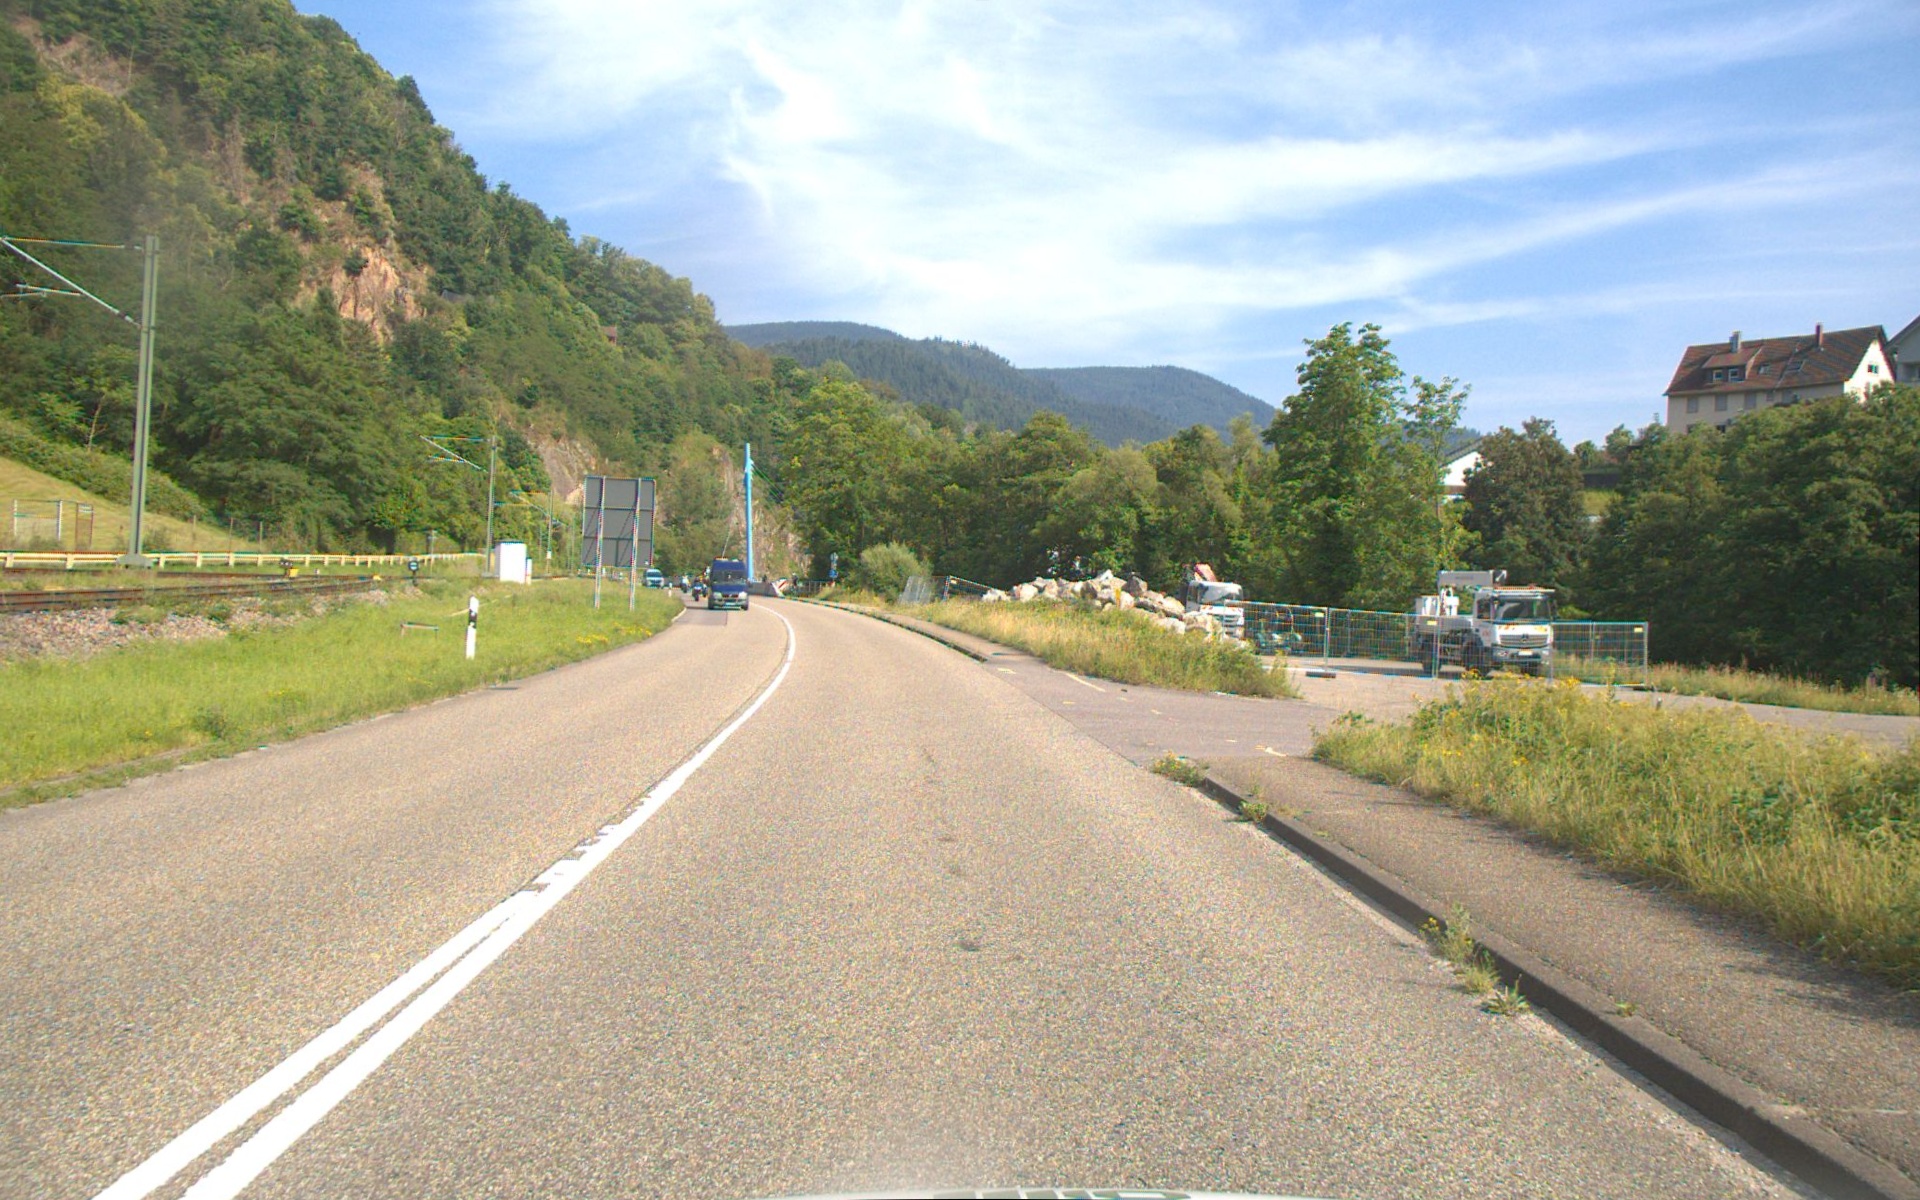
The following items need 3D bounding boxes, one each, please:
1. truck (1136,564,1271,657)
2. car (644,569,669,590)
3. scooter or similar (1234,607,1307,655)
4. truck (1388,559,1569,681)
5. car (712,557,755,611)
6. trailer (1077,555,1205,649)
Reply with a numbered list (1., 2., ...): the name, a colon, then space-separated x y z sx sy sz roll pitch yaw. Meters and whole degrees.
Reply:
1. truck: 10.995 0.389 75.647 3.050 3.847 8.617 3 0 -13
2. car: -28.712 -1.934 156.318 1.839 1.812 4.581 2 2 -16
3. scooter or similar: 14.028 1.371 74.990 1.957 2.049 3.991 1 0 -10
4. truck: 18.303 0.641 59.135 3.042 3.847 8.637 3 0 -4
5. car: -11.585 -0.809 84.799 2.086 2.661 5.471 0 1 -7
6. trailer: 9.109 0.087 84.679 3.307 4.349 9.877 3 -1 -13
